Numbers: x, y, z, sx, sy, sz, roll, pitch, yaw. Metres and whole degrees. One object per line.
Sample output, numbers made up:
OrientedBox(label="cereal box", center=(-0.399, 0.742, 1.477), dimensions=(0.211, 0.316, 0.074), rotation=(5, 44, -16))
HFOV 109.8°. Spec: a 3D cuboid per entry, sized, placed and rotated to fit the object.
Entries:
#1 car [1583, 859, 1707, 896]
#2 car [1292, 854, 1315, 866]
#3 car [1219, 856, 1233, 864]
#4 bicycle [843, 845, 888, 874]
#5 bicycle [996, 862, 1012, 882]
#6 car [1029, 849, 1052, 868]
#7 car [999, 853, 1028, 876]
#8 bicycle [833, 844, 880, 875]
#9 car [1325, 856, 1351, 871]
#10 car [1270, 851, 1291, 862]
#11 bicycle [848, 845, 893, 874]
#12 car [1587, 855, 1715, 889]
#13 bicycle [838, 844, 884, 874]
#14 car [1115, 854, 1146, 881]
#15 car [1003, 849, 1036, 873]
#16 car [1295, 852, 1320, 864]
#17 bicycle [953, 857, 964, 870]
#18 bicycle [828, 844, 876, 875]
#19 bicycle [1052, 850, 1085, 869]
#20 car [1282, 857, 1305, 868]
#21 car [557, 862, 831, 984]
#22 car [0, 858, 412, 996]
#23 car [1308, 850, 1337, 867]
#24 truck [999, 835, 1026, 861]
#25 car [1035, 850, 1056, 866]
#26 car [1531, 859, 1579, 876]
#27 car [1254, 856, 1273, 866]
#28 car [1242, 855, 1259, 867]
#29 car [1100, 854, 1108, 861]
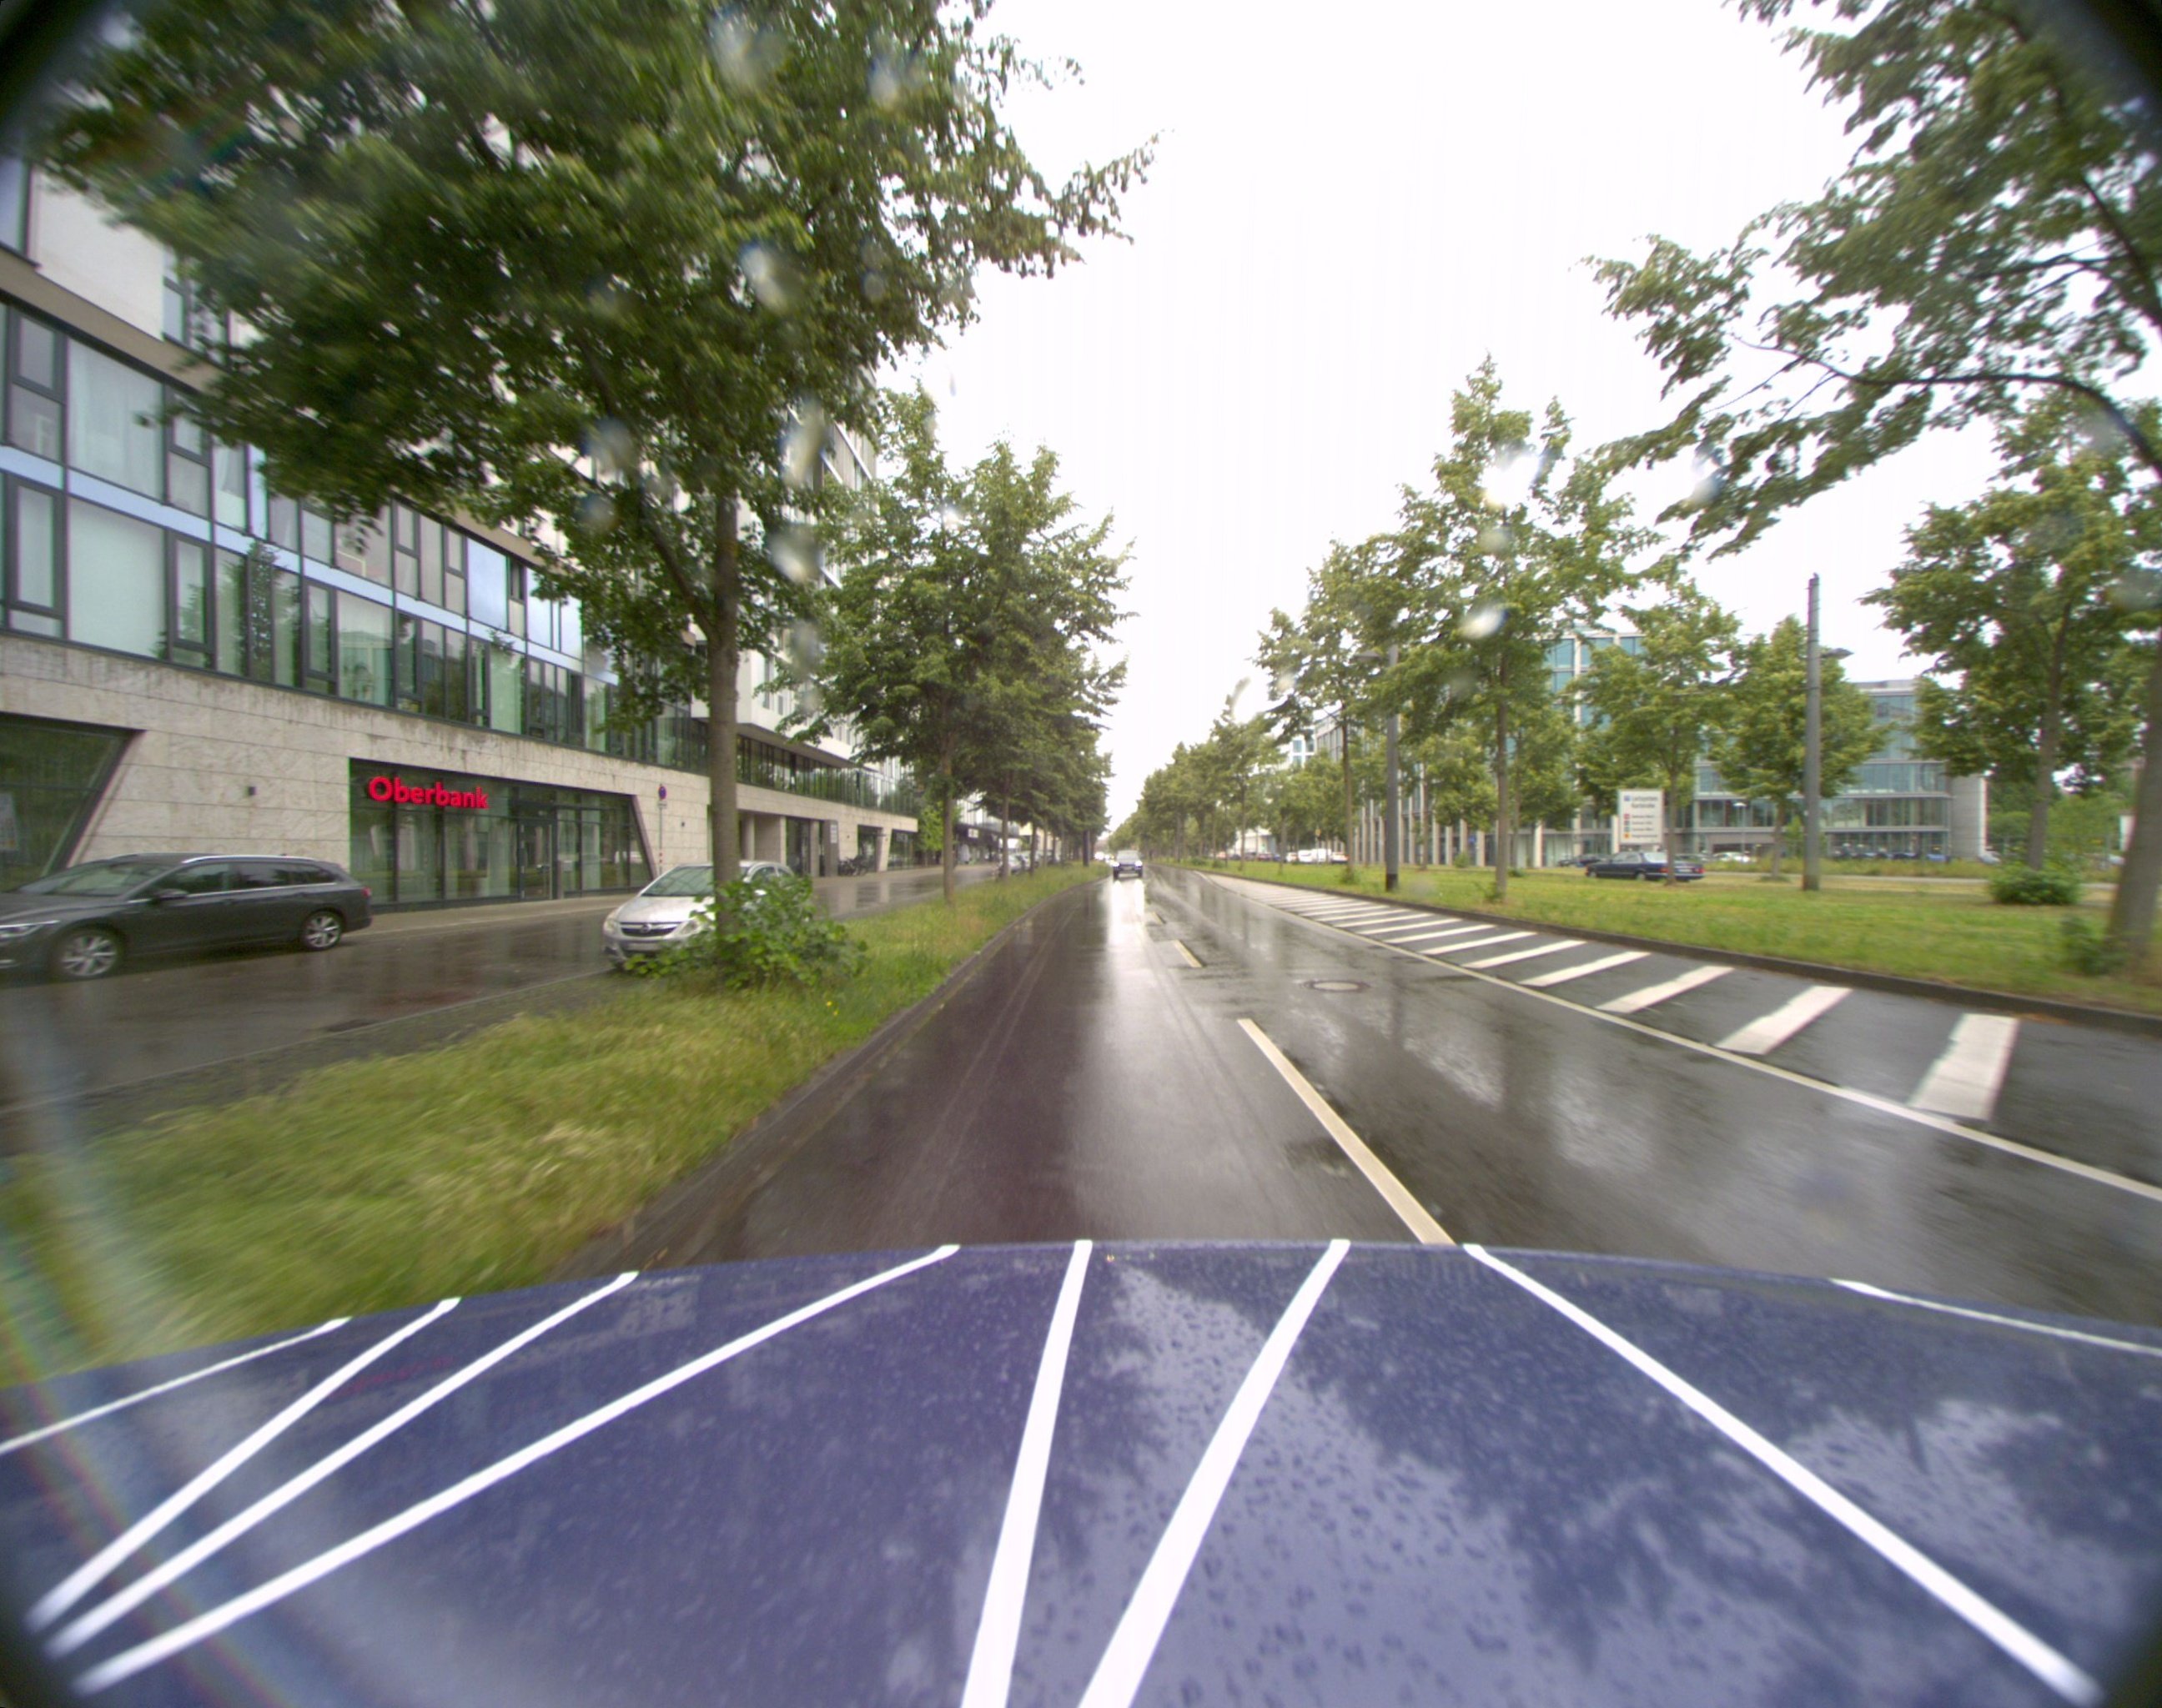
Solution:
OrientedBox(label="car", center=(23.172, 0.916, 31.490), dimensions=(1.492, 1.290, 4.976), rotation=(0, 1, 1))
OrientedBox(label="car", center=(28.056, 0.777, 95.863), dimensions=(1.955, 1.452, 4.835), rotation=(0, -2, 5))
OrientedBox(label="car", center=(26.668, 1.044, 139.852), dimensions=(1.955, 1.444, 4.576), rotation=(-1, 0, 1))
OrientedBox(label="bicycle", center=(-13.635, 0.341, 48.064), dimensions=(2.685, 1.850, 0.707), rotation=(0, 0, 6))
OrientedBox(label="bicycle", center=(-3.260, 0.792, 32.182), dimensions=(0.343, 0.817, 1.903), rotation=(0, -2, 5))
OrientedBox(label="car", center=(-4.298, 0.524, 81.046), dimensions=(1.998, 1.940, 5.032), rotation=(0, -2, 2))
OrientedBox(label="car", center=(-4.541, 0.718, 51.607), dimensions=(1.629, 1.482, 3.656), rotation=(0, -1, 1))
OrientedBox(label="bicycle", center=(-13.717, 0.352, 46.491), dimensions=(2.685, 1.850, 0.707), rotation=(0, 0, 6))
OrientedBox(label="car", center=(30.627, 1.067, 90.679), dimensions=(1.955, 1.739, 4.577), rotation=(-1, 0, 4))
OrientedBox(label="car", center=(28.730, 0.352, 109.755), dimensions=(1.956, 1.485, 3.963), rotation=(0, -2, -1))
OrientedBox(label="bicycle", center=(-13.539, 0.327, 48.825), dimensions=(2.685, 1.850, 0.707), rotation=(0, 0, 6))
OrientedBox(label="car", center=(23.156, 0.728, 31.127), dimensions=(1.553, 1.258, 4.853), rotation=(0, -1, -1))
OrientedBox(label="bicycle", center=(-13.661, 0.325, 47.280), dimensions=(2.685, 1.850, 0.707), rotation=(0, 0, 6))
OrientedBox(label="car", center=(3.148, 0.838, 49.224), dimensions=(1.928, 1.650, 4.716), rotation=(1, 0, 2))
OrientedBox(label="car", center=(-4.583, 0.567, 57.569), dimensions=(1.998, 1.659, 4.726), rotation=(0, -2, 2))
OrientedBox(label="car", center=(31.687, 0.588, 106.649), dimensions=(1.956, 1.641, 5.031), rotation=(0, -2, -1))
OrientedBox(label="bicycle", center=(-10.976, 0.875, 68.034), dimensions=(0.519, 1.124, 2.065), rotation=(0, 0, 4))
OrientedBox(label="bicycle", center=(-13.802, 0.349, 45.747), dimensions=(2.685, 1.850, 0.707), rotation=(0, 0, 6))
OrientedBox(label="bicycle", center=(-0.804, 0.325, 48.662), dimensions=(2.040, 1.189, 0.491), rotation=(0, 1, 1))
OrientedBox(label="car", center=(28.659, 1.130, 102.504), dimensions=(1.955, 1.504, 4.576), rotation=(-1, 0, 1))
OrientedBox(label="car", center=(-5.570, 0.943, 11.779), dimensions=(1.886, 1.496, 4.725), rotation=(0, -2, -1))
OrientedBox(label="car", center=(-12.574, 0.834, 10.553), dimensions=(1.998, 1.492, 5.035), rotation=(-1, -1, 2))
OrientedBox(label="car", center=(31.272, 0.577, 98.730), dimensions=(2.273, 1.994, 5.376), rotation=(0, -2, 3))
OrientedBox(label="truck", center=(-9.402, -0.805, 105.131), dimensions=(3.032, 3.421, 8.546), rotation=(0, 0, -1))
OrientedBox(label="car", center=(-3.529, 0.351, 74.797), dimensions=(1.962, 1.504, 4.480), rotation=(0, 0, -5))
OrientedBox(label="car", center=(48.324, 1.392, 77.491), dimensions=(3.797, 1.599, 1.746), rotation=(0, -2, 5))
OrientedBox(label="car", center=(28.662, 1.092, 119.297), dimensions=(1.955, 1.377, 4.606), rotation=(0, -2, 1))
OrientedBox(label="car", center=(28.705, 1.207, 129.056), dimensions=(1.955, 1.837, 4.544), rotation=(0, -1, 1))
OrientedBox(label="car", center=(5.214, 0.848, 172.389), dimensions=(1.687, 1.520, 3.970), rotation=(0, -2, 0))
